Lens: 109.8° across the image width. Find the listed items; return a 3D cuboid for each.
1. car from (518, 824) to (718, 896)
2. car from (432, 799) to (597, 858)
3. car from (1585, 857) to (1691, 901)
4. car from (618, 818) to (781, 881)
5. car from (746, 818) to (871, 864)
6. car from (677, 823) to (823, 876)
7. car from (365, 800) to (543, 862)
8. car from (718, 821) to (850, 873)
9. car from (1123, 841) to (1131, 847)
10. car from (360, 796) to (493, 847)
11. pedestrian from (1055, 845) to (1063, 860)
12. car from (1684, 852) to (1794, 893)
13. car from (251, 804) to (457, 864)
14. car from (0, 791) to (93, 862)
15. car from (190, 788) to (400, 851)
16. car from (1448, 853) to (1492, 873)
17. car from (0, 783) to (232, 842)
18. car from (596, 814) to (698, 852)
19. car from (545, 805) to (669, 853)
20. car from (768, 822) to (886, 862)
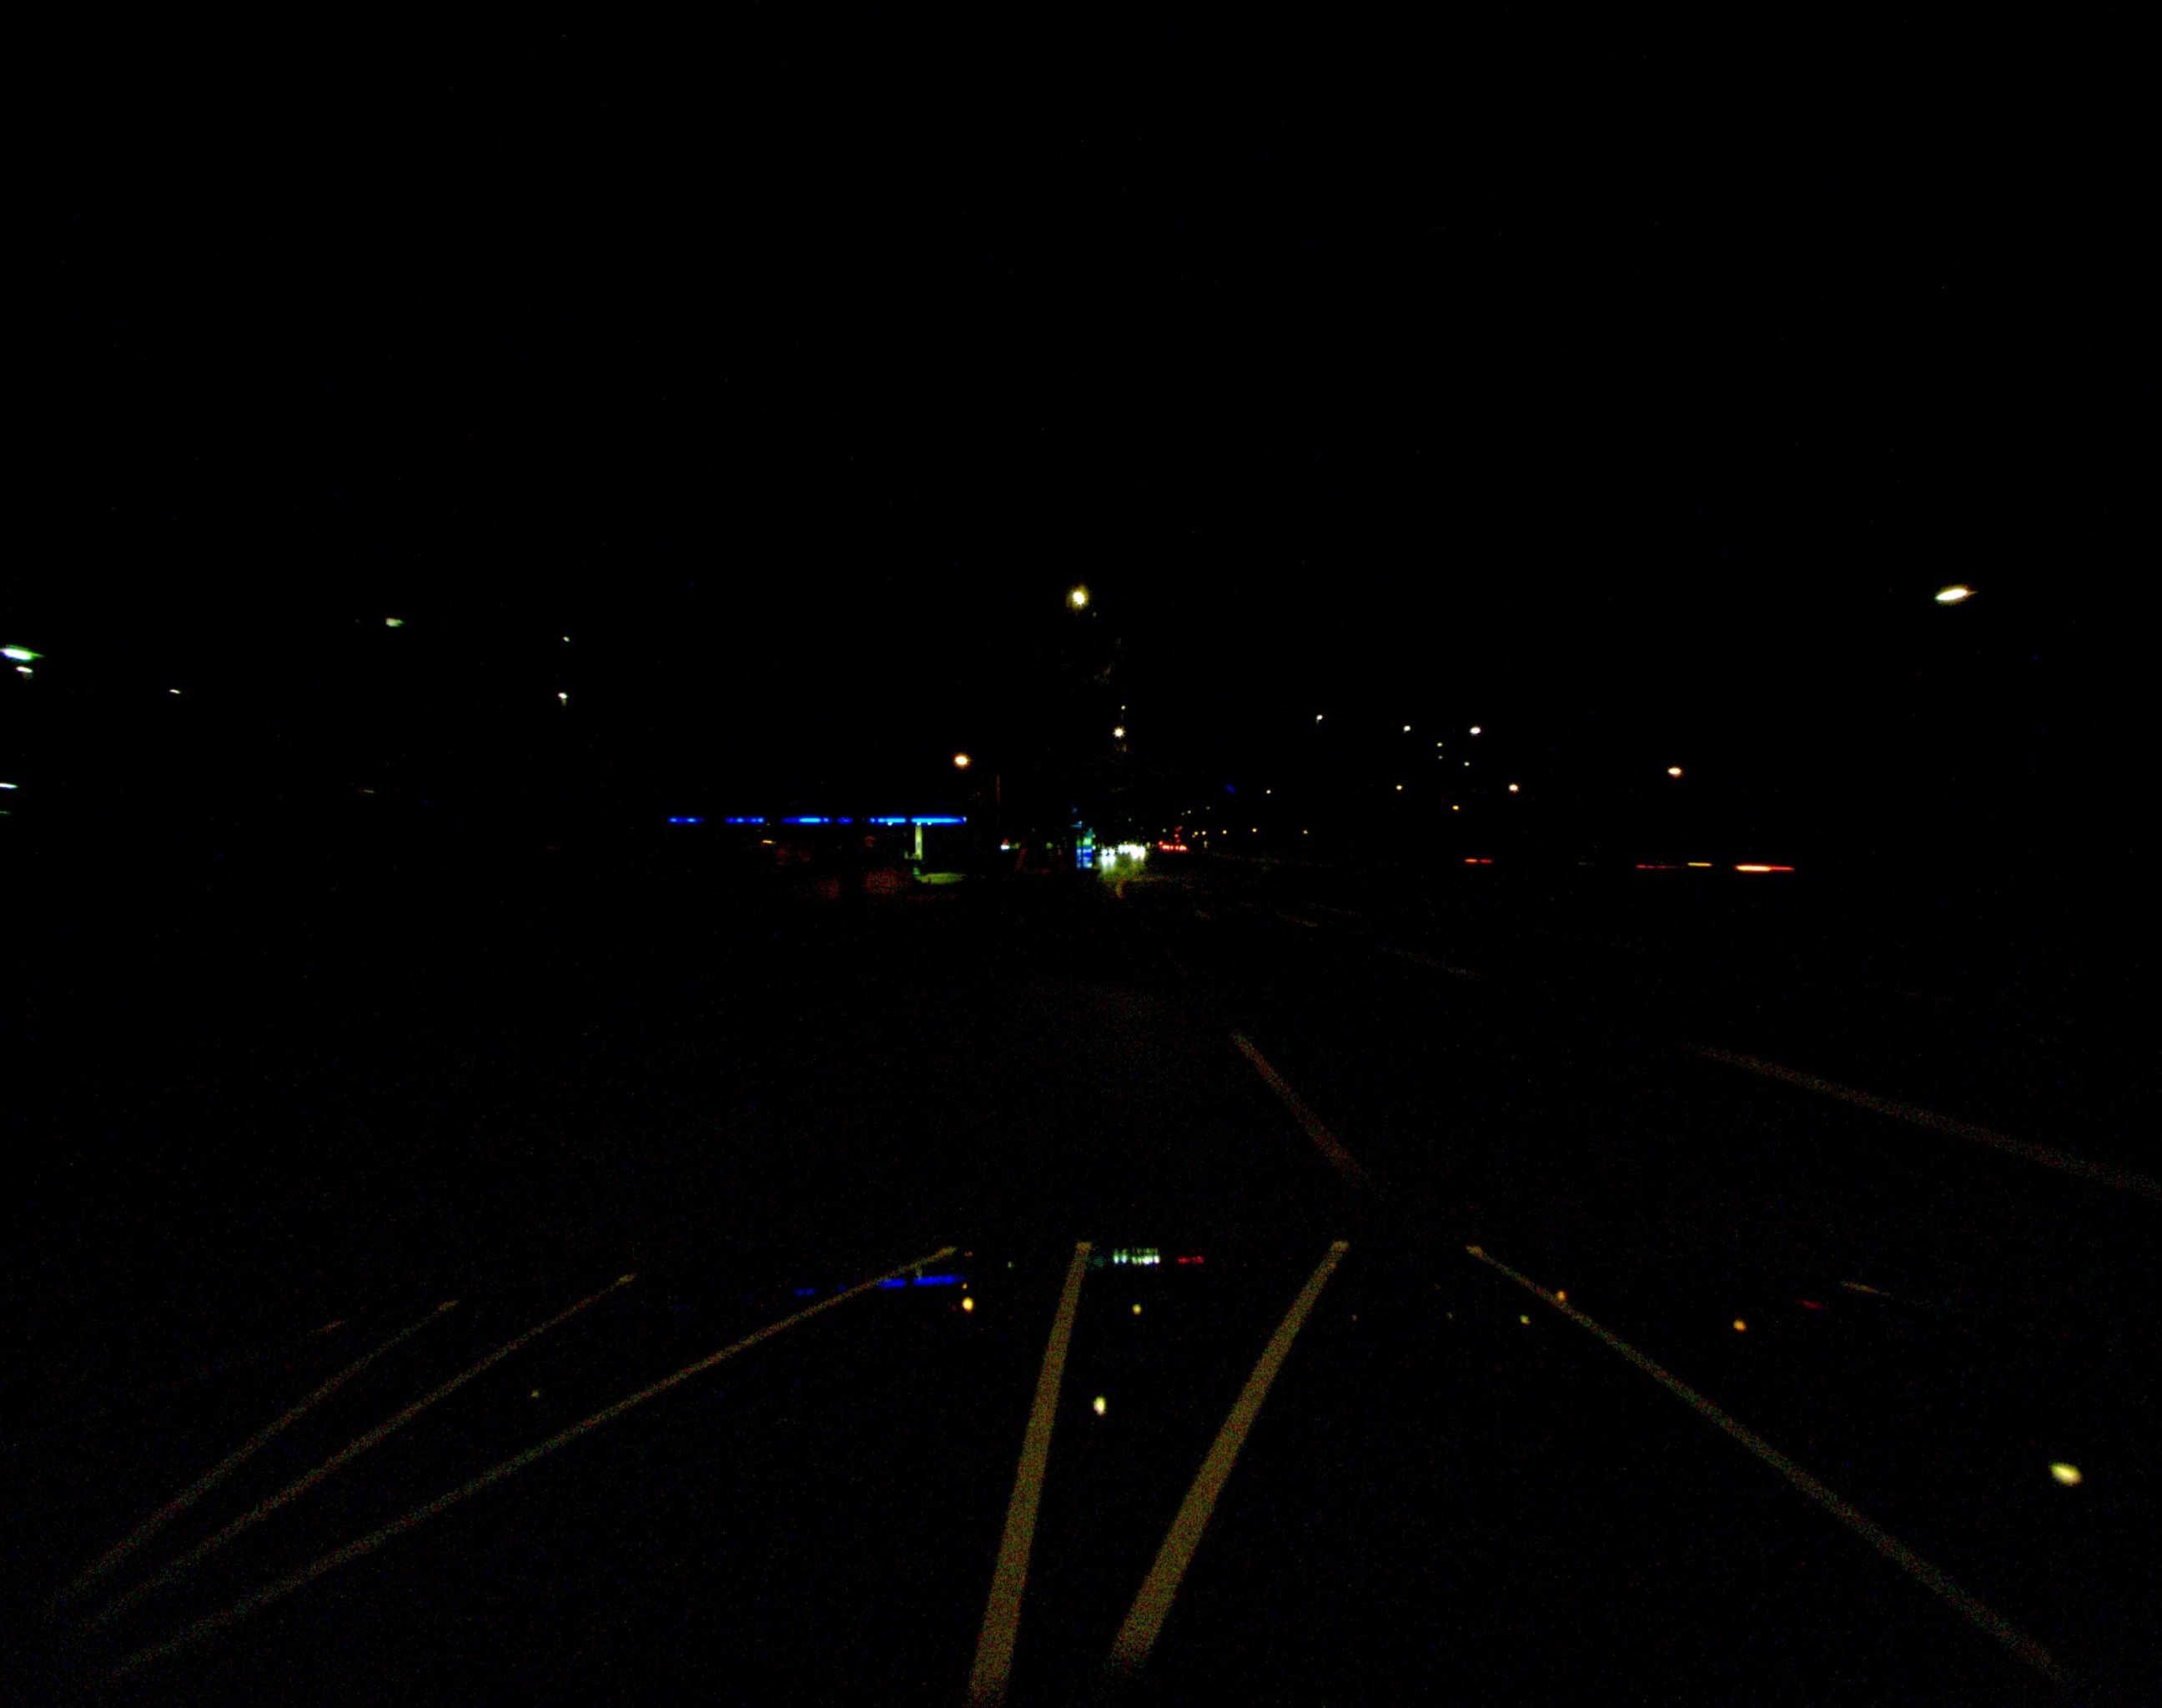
[{"bbox_3d":[-10.782,0.129,17.952,3.850,1.482,1.735,1,4,-30],"label":"car"},{"bbox_3d":[-19.122,-0.871,25.750,4.369,1.716,1.751,3,2,3],"label":"car"},{"bbox_3d":[24.714,1.054,33.919,1.805,1.685,3.999,-2,1,0],"label":"car"},{"bbox_3d":[-10.326,-0.139,20.774,3.572,1.561,1.725,1,2,-3],"label":"car"},{"bbox_3d":[-10.116,-0.488,28.388,3.996,1.562,1.738,1,2,2],"label":"car"},{"bbox_3d":[-10.126,-0.162,23.455,3.734,1.481,1.741,1,2,-1],"label":"car"},{"bbox_3d":[-19.254,-0.716,23.460,3.996,1.680,1.819,2,2,2],"label":"car"},{"bbox_3d":[-10.059,-0.278,25.939,3.756,1.579,1.779,2,3,-1],"label":"car"},{"bbox_3d":[12.859,-2.739,212.856,1.991,1.473,4.203,1,2,2],"label":"car"},{"bbox_3d":[-26.548,-1.301,30.919,3.819,1.885,1.751,2,2,-2],"label":"car"},{"bbox_3d":[-2.856,-0.208,98.547,0.806,1.902,0.794,2,2,10],"label":"pedestrian"},{"bbox_3d":[31.691,0.845,36.754,1.836,1.675,3.998,-2,2,-1],"label":"car"},{"bbox_3d":[-19.806,-0.558,20.845,3.883,1.425,1.767,2,2,-2],"label":"car"},{"bbox_3d":[-24.592,-0.637,16.442,3.996,1.482,1.866,1,2,2],"label":"car"},{"bbox_3d":[-25.439,-1.105,24.743,4.588,1.900,1.999,1,2,-2],"label":"car"},{"bbox_3d":[28.970,0.650,56.631,1.531,1.263,3.389,-2,2,0],"label":"car"},{"bbox_3d":[-35.391,-1.452,27.890,5.250,1.959,2.183,0,2,-36],"label":"car"},{"bbox_3d":[-19.306,-0.965,33.887,3.649,1.462,1.637,3,3,4],"label":"car"},{"bbox_3d":[-19.473,-1.031,31.278,3.995,1.722,1.837,3,3,4],"label":"car"},{"bbox_3d":[-10.217,-0.519,30.709,4.129,1.514,1.822,1,3,2],"label":"car"}]
